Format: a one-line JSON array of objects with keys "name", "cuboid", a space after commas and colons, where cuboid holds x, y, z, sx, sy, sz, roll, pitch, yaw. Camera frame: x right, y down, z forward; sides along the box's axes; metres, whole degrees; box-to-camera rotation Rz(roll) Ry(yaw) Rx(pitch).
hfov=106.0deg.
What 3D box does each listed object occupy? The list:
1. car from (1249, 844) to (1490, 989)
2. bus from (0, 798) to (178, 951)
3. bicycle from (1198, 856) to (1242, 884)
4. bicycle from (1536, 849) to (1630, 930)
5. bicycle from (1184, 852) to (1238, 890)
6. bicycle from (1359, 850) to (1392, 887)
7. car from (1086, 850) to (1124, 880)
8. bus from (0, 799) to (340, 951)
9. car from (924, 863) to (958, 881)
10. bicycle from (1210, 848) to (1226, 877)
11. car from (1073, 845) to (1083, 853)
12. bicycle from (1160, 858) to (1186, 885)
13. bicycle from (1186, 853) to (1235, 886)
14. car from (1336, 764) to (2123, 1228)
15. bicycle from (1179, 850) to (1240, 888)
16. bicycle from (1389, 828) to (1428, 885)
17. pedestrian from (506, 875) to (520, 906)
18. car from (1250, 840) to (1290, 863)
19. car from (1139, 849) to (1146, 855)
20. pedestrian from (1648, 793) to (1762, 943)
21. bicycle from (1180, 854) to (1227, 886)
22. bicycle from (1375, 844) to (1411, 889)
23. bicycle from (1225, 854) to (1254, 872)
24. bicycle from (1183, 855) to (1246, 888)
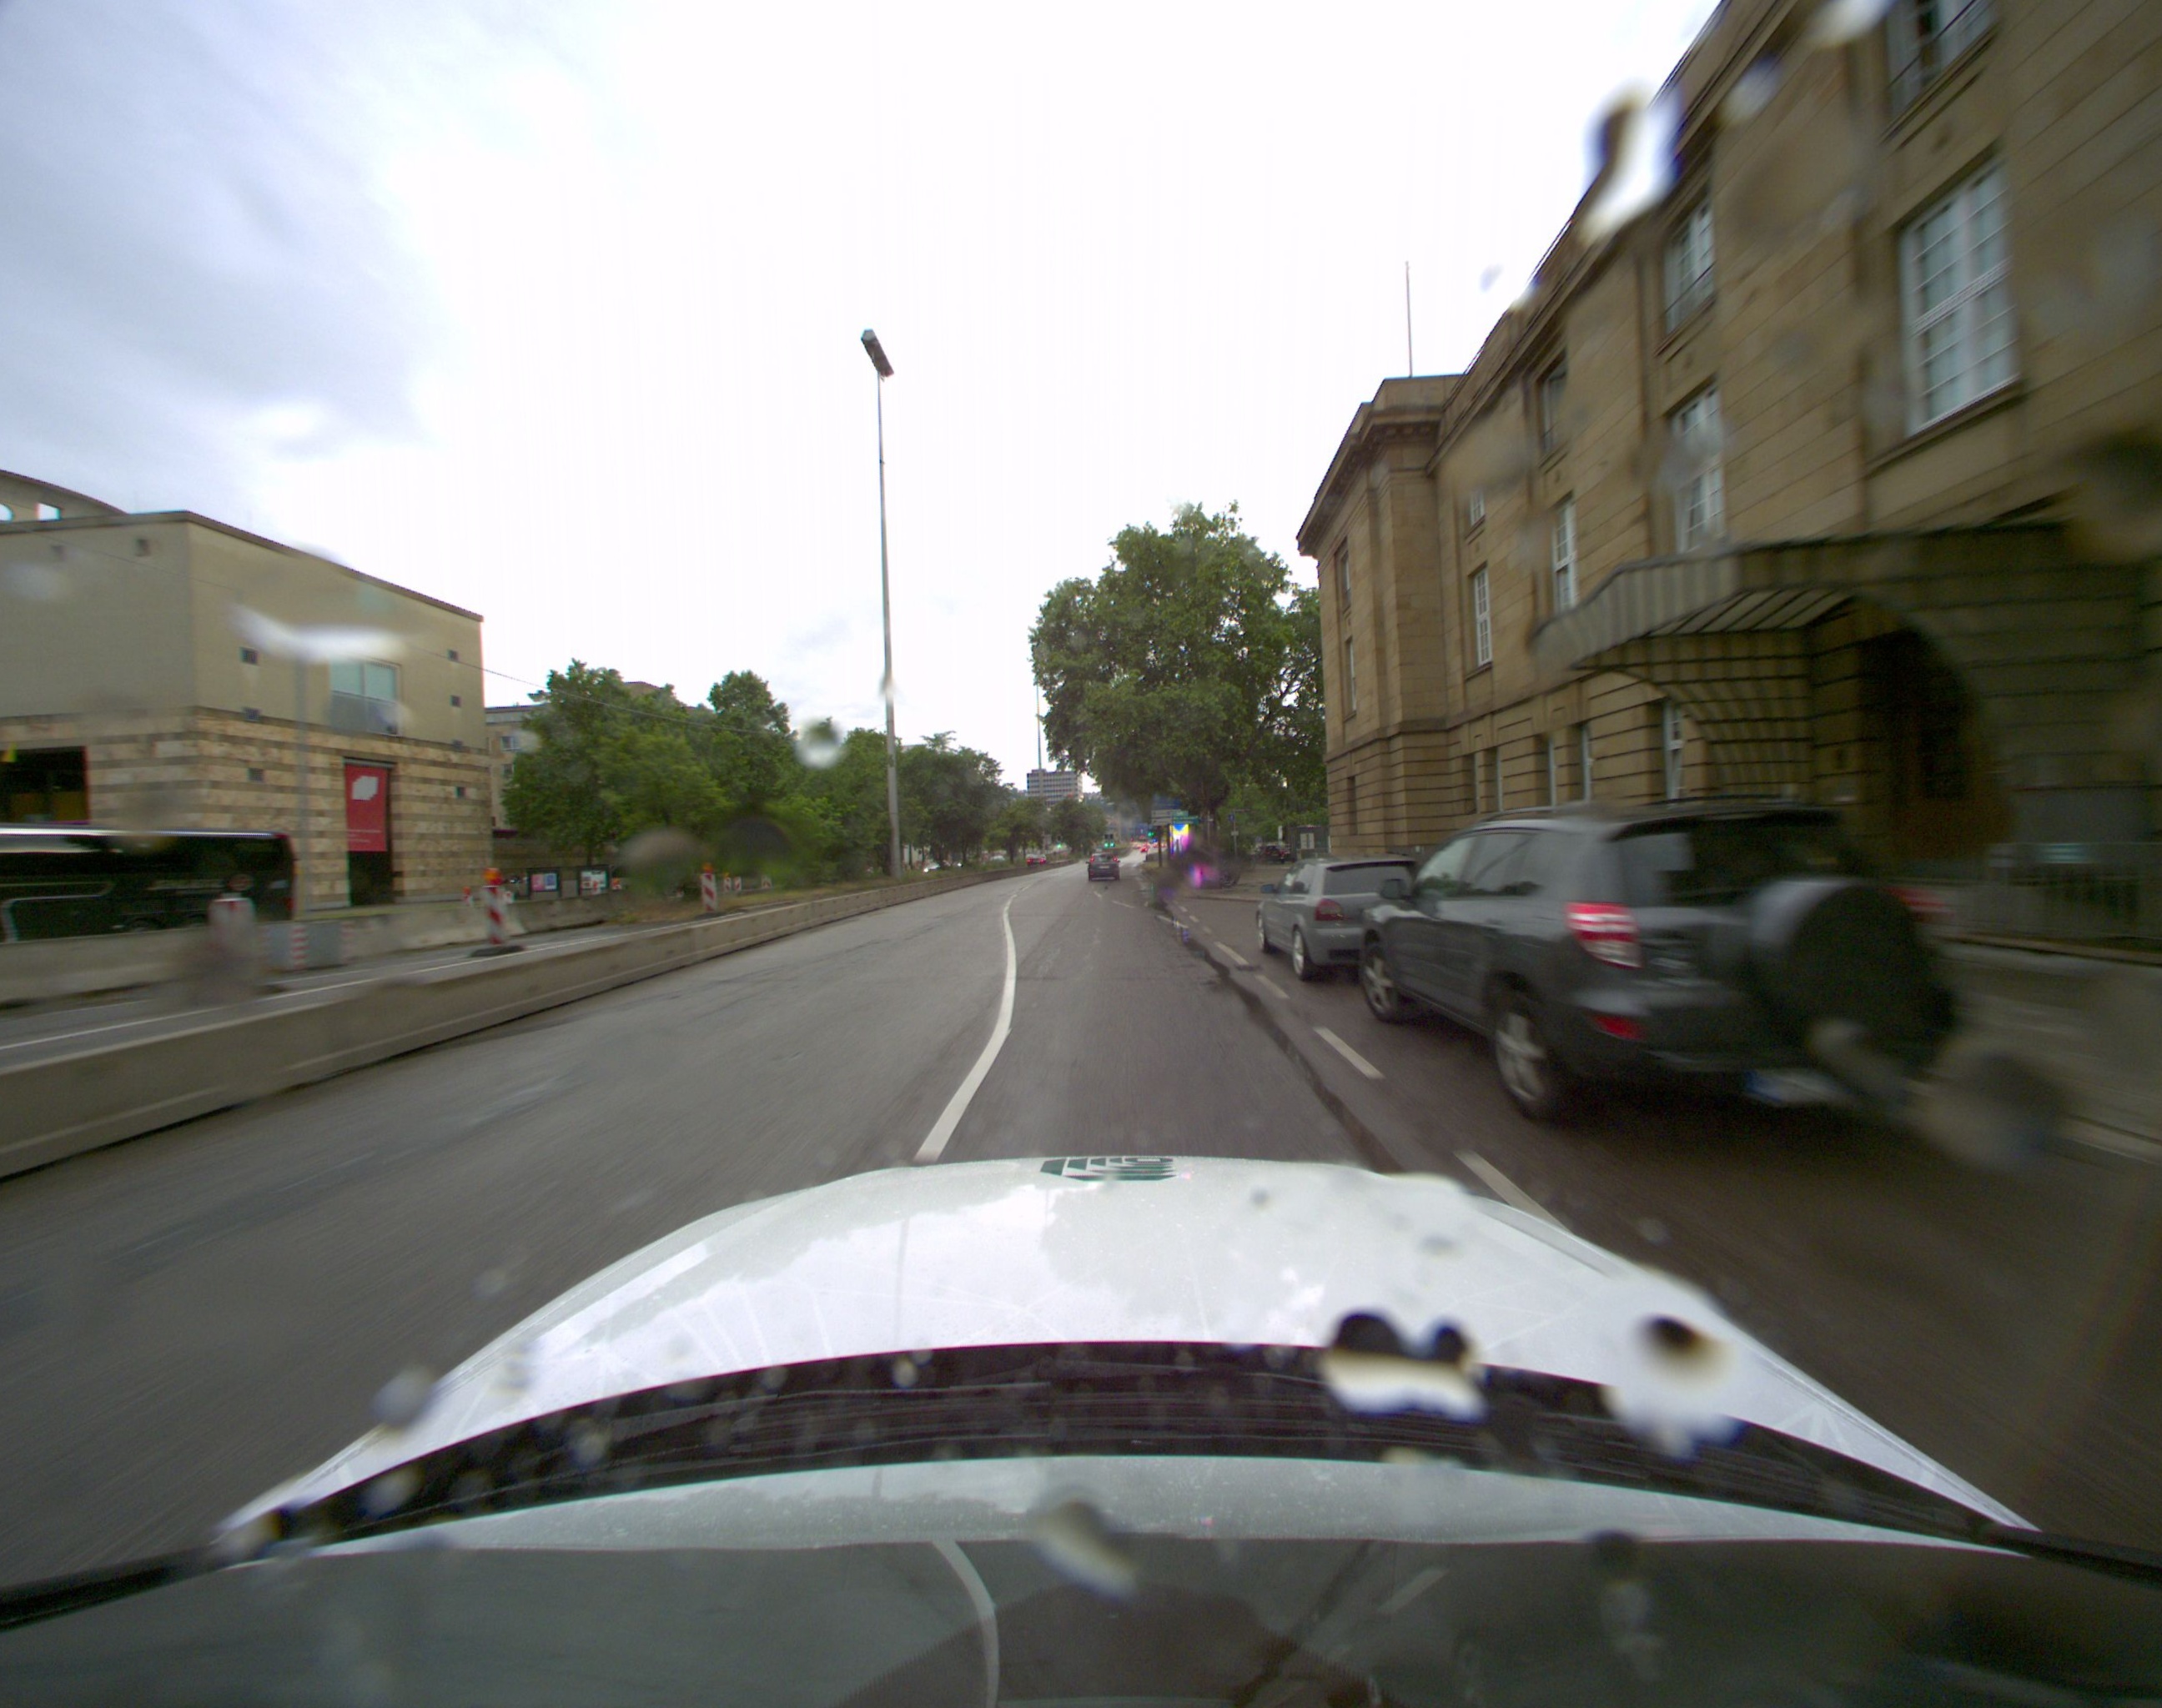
[{"name": "car", "cuboid": [3.440, 0.682, 10.509, 1.923, 1.478, 3.706, -2, -1, 3]}, {"name": "bus", "cuboid": [-31.964, 0.603, 20.168, 3.103, 4.252, 13.518, -1, 0, 6]}, {"name": "bicycle", "cuboid": [5.348, 0.617, 31.415, 1.582, 0.994, 0.525, -2, 0, 4]}, {"name": "bicycle", "cuboid": [8.108, 0.546, 13.228, 0.462, 1.215, 1.692, -2, -1, 1]}, {"name": "bicycle", "cuboid": [4.752, 0.611, 29.825, 1.897, 1.332, 0.651, -2, 0, 4]}, {"name": "bicycle", "cuboid": [8.884, 0.433, 24.643, 0.351, 1.080, 1.790, -4, -1, 2]}, {"name": "car", "cuboid": [1.238, 0.591, 43.437, 1.839, 1.416, 3.837, -3, -1, -1]}, {"name": "bus", "cuboid": [-28.414, 0.541, 21.630, 2.789, 3.811, 14.624, -1, 0, 7]}, {"name": "car", "cuboid": [-13.751, 1.759, 80.352, 1.984, 1.625, 4.815, -4, -1, 5]}, {"name": "bicycle", "cuboid": [6.054, 0.381, 35.966, 0.601, 1.197, 1.910, -4, -1, 10]}, {"name": "car", "cuboid": [-0.638, -0.998, 172.378, 1.987, 1.632, 3.999, -2, 0, 0]}, {"name": "bicycle", "cuboid": [3.589, 0.677, 31.644, 0.664, 0.967, 1.645, -2, 0, 18]}, {"name": "bicycle", "cuboid": [4.664, 0.556, 29.400, 1.671, 1.090, 0.651, -2, 0, 4]}, {"name": "car", "cuboid": [3.174, 0.590, 5.306, 1.984, 1.781, 4.194, -2, -1, 5]}, {"name": "bicycle", "cuboid": [4.791, 0.551, 30.450, 2.180, 1.336, 0.651, -2, 0, 4]}, {"name": "bicycle", "cuboid": [9.086, 0.062, 22.620, 0.452, 1.515, 1.600, -1, 0, 1]}, {"name": "pedestrian", "cuboid": [-37.580, 2.429, 53.880, 0.476, 2.013, 0.512, -4, -1, 3]}, {"name": "car", "cuboid": [14.487, -0.212, 62.774, 1.986, 1.609, 5.239, -2, 1, 2]}, {"name": "car", "cuboid": [17.772, -0.593, 233.808, 1.730, 1.771, 4.006, -4, -1, 5]}, {"name": "pedestrian", "cuboid": [7.896, 0.172, 10.334, 0.792, 1.777, 0.642, -5, -1, 2]}, {"name": "bicycle", "cuboid": [4.605, 0.588, 30.709, 1.671, 1.122, 0.602, -2, 0, 4]}, {"name": "bicycle", "cuboid": [9.083, 0.345, 23.756, 0.452, 1.251, 1.600, -1, 0, 1]}, {"name": "bicycle", "cuboid": [9.307, 0.533, 47.900, 1.631, 1.020, 0.576, 0, -1, 7]}, {"name": "bicycle", "cuboid": [4.565, 0.603, 27.923, 1.979, 1.060, 0.759, -2, 0, -1]}]
